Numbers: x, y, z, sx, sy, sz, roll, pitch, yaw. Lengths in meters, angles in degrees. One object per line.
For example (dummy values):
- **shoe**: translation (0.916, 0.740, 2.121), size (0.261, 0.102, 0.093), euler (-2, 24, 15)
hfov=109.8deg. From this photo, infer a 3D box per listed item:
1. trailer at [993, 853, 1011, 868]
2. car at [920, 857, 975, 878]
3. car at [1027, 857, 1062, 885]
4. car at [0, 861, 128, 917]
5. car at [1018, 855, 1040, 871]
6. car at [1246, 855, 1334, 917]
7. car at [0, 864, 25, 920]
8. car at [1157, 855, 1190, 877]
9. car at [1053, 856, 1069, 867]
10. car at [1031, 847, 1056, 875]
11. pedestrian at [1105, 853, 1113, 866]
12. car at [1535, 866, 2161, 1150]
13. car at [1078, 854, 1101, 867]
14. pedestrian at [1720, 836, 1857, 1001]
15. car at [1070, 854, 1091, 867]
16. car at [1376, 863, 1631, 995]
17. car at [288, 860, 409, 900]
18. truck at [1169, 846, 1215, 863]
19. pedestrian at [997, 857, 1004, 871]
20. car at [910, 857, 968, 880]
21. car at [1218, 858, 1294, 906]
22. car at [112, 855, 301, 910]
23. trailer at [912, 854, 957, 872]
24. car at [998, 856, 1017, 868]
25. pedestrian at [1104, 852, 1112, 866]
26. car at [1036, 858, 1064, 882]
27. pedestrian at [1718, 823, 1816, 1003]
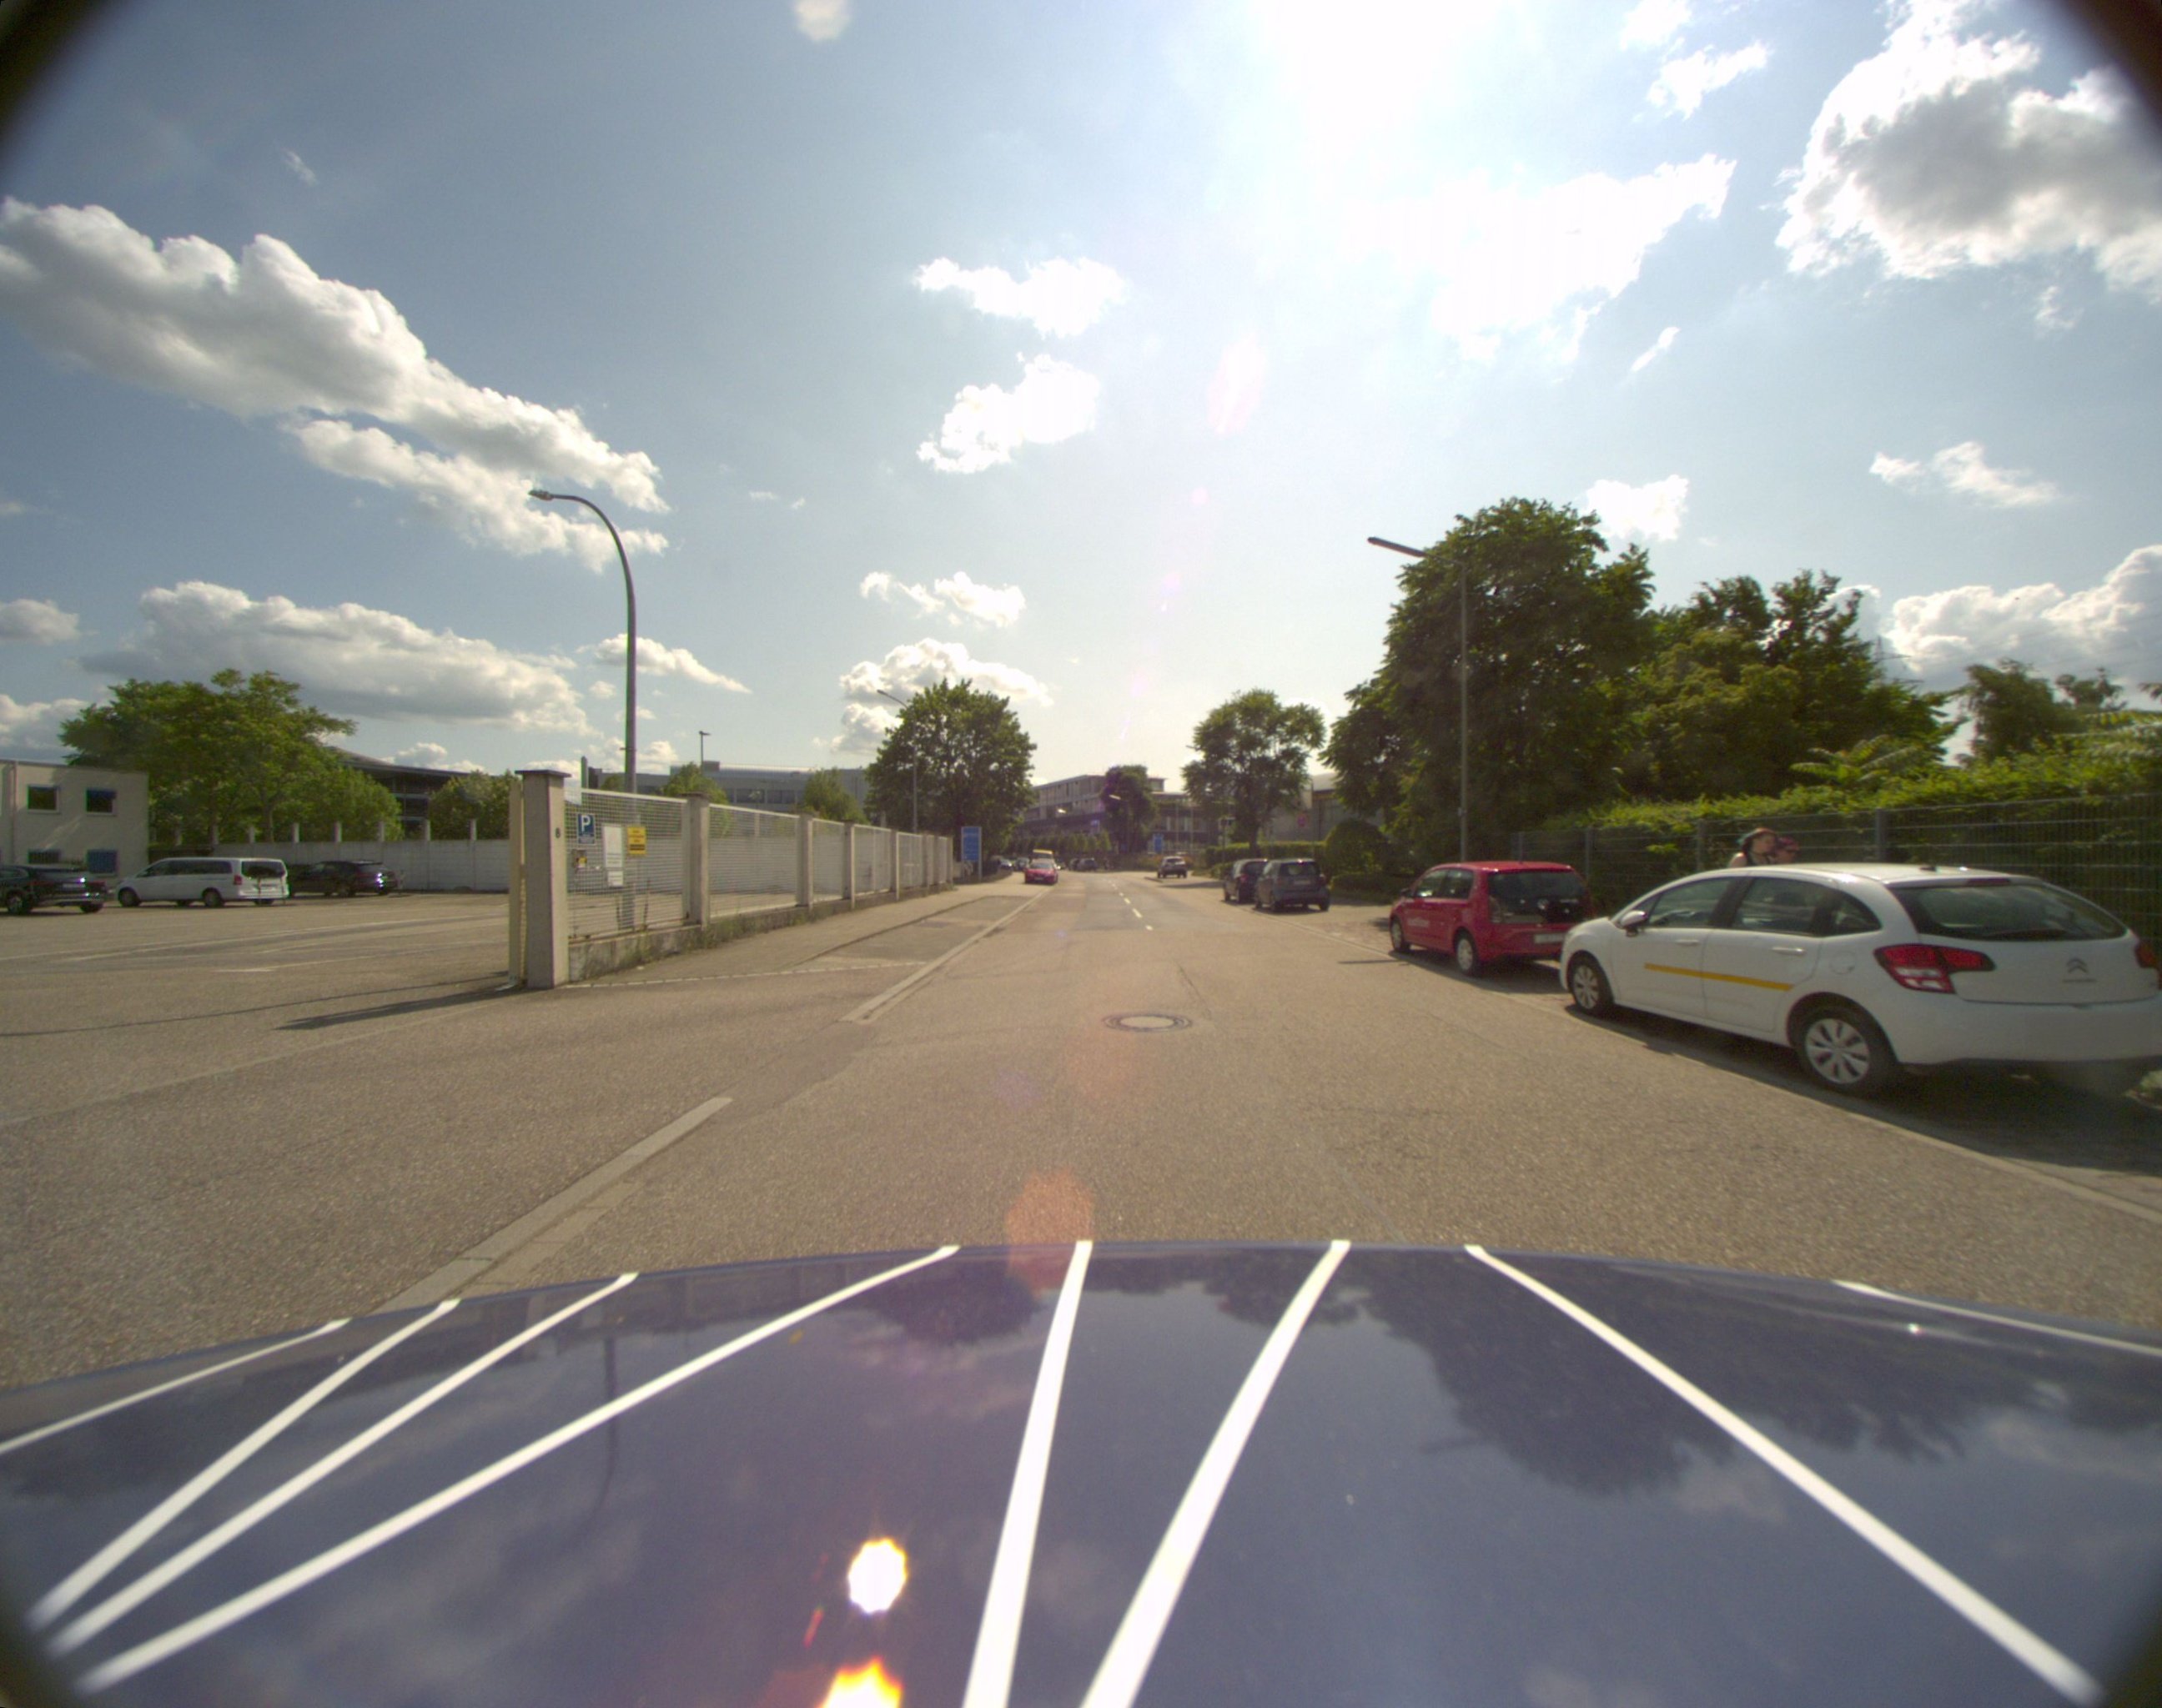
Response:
- **trailer**: translation (-11.556, 0.924, 111.342), size (1.753, 2.055, 3.941), euler (2, -1, -17)
- **car**: translation (-10.201, 1.010, 58.264), size (3.884, 1.584, 1.910), euler (0, 1, 1)
- **car**: translation (-2.180, 1.006, 46.597), size (1.758, 1.477, 4.225), euler (3, 0, 1)
- **car**: translation (-34.043, 1.090, 24.671), size (3.919, 1.630, 1.935), euler (1, 1, 3)
- **car**: translation (-6.130, 1.035, 89.126), size (1.856, 1.755, 5.072), euler (2, 0, -11)
- **car**: translation (6.267, 0.910, 23.077), size (1.655, 1.636, 3.273), euler (-3, 0, -1)
- **car**: translation (-34.093, 1.110, 22.208), size (3.919, 1.630, 1.935), euler (1, 1, 3)
- **car**: translation (6.939, 0.899, 57.594), size (1.762, 1.565, 4.476), euler (-1, 0, -2)
- **car**: translation (-2.974, 1.109, 113.784), size (1.615, 1.514, 3.070), euler (-1, 0, -17)
- **car**: translation (-3.557, 0.614, 70.973), size (2.163, 2.450, 6.636), euler (1, 0, -5)
- **pedestrian**: translation (3.552, 0.666, 97.753), size (0.845, 1.682, 0.830), euler (-2, 1, -7)
- **car**: translation (5.718, 0.889, 6.212), size (1.649, 1.468, 4.029), euler (-1, 0, 1)
- **car**: translation (1.047, 0.824, 98.239), size (1.806, 1.641, 4.684), euler (-2, 0, -14)
- **pedestrian**: translation (8.075, 0.696, 8.713), size (0.710, 1.790, 0.916), euler (0, 1, 1)
- **car**: translation (-0.129, 0.873, 103.682), size (1.782, 1.672, 4.225), euler (-2, 0, -14)
- **car**: translation (5.778, 0.924, 10.956), size (1.670, 1.458, 3.744), euler (-2, 0, 2)
- **car**: translation (-33.468, 1.165, 34.759), size (3.994, 1.641, 1.918), euler (-2, 1, 10)
- **truck**: translation (17.462, 0.108, 119.101), size (6.944, 2.642, 2.400), euler (0, 0, -25)
- **pedestrian**: translation (-10.220, 1.272, 96.759), size (0.723, 1.683, 0.739), euler (4, -1, -14)
- **car**: translation (-10.378, 1.014, 55.642), size (3.884, 1.628, 1.910), euler (0, 1, 1)
- **car**: translation (6.328, 0.974, 27.846), size (1.849, 1.499, 4.000), euler (-3, 0, 1)
- **car**: translation (-33.836, 1.072, 29.520), size (5.066, 1.937, 1.935), euler (1, 1, 0)
- **trailer**: translation (-17.019, 1.024, 88.315), size (5.065, 2.070, 2.059), euler (0, 0, -13)
- **car**: translation (-10.360, 1.128, 107.152), size (1.868, 1.672, 4.703), euler (2, -1, -16)
- **pedestrian**: translation (3.511, 0.660, 98.884), size (0.831, 1.751, 0.844), euler (-2, 1, -8)
- **car**: translation (-2.168, 1.067, 51.843), size (1.704, 1.477, 3.805), euler (3, 0, -5)
- **pedestrian**: translation (7.464, 0.621, 8.297), size (0.452, 1.883, 0.677), euler (0, 1, 1)
